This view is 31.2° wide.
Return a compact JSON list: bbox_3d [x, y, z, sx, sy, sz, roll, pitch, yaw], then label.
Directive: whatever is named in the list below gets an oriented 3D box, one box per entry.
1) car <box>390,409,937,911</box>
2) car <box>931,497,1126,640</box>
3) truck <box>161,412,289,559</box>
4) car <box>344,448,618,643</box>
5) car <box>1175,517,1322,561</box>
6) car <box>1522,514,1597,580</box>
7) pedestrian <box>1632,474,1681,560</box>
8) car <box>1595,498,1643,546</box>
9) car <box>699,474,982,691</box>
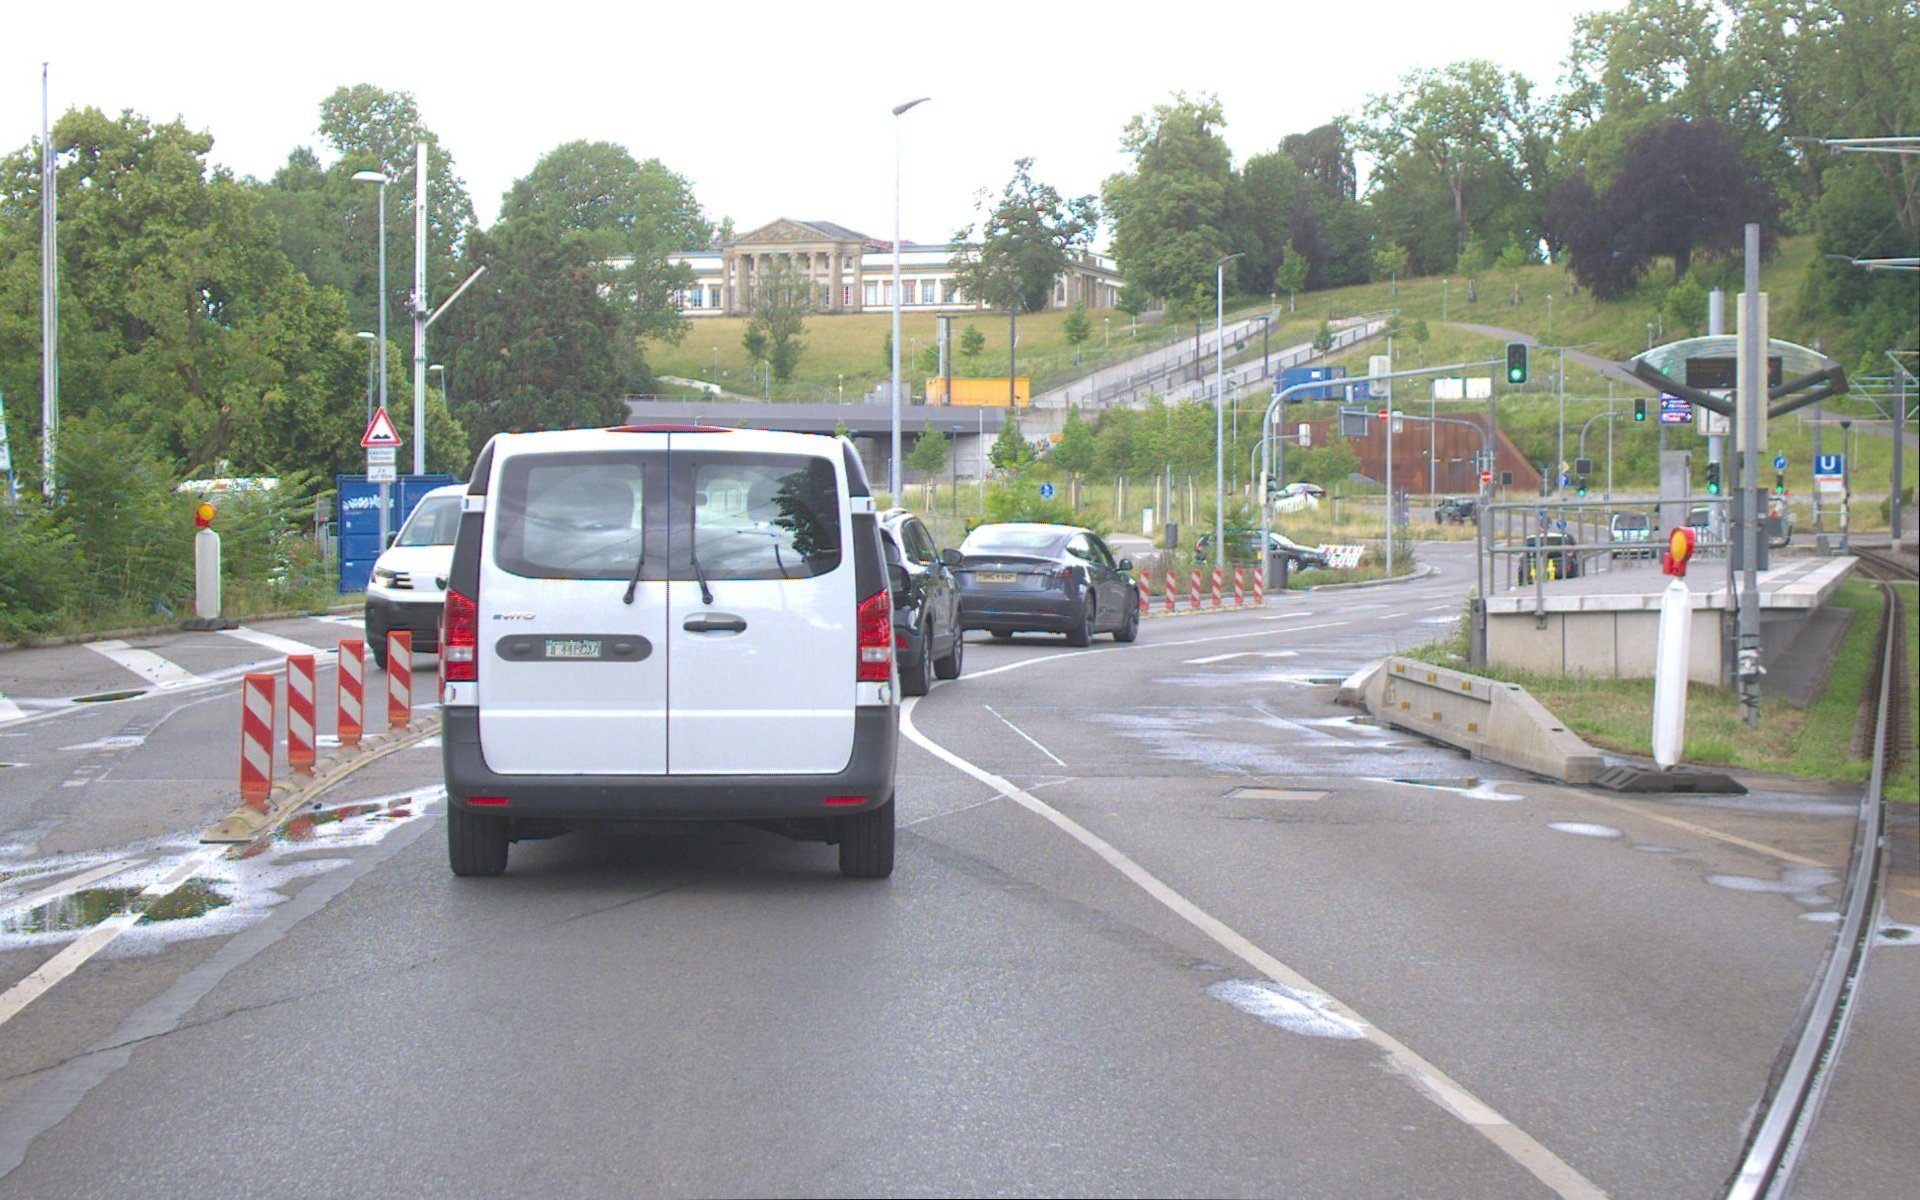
[{"bbox_3d":[-1.163,0.167,15.503,1.959,1.897,4.462,1,2,1],"label":"car"},{"bbox_3d":[0.882,-0.419,41.547,1.839,1.577,4.061,2,2,8],"label":"car"},{"bbox_3d":[-17.723,-2.766,82.820,2.791,3.324,8.481,-2,2,-12],"label":"truck"},{"bbox_3d":[-4.617,-0.607,33.822,1.863,1.776,4.749,0,3,2],"label":"car"},{"bbox_3d":[10.084,-2.129,120.140,4.715,1.472,1.997,0,2,26],"label":"car"},{"bbox_3d":[17.321,-1.536,99.185,1.994,1.765,3.998,3,2,11],"label":"car"},{"bbox_3d":[12.919,-1.547,63.741,0.751,1.548,0.774,3,4,17],"label":"pedestrian"},{"bbox_3d":[26.139,-3.094,136.401,1.753,1.765,3.998,3,2,11],"label":"car"},{"bbox_3d":[-0.977,-0.200,30.393,1.839,1.723,4.061,2,2,7],"label":"car"}]
